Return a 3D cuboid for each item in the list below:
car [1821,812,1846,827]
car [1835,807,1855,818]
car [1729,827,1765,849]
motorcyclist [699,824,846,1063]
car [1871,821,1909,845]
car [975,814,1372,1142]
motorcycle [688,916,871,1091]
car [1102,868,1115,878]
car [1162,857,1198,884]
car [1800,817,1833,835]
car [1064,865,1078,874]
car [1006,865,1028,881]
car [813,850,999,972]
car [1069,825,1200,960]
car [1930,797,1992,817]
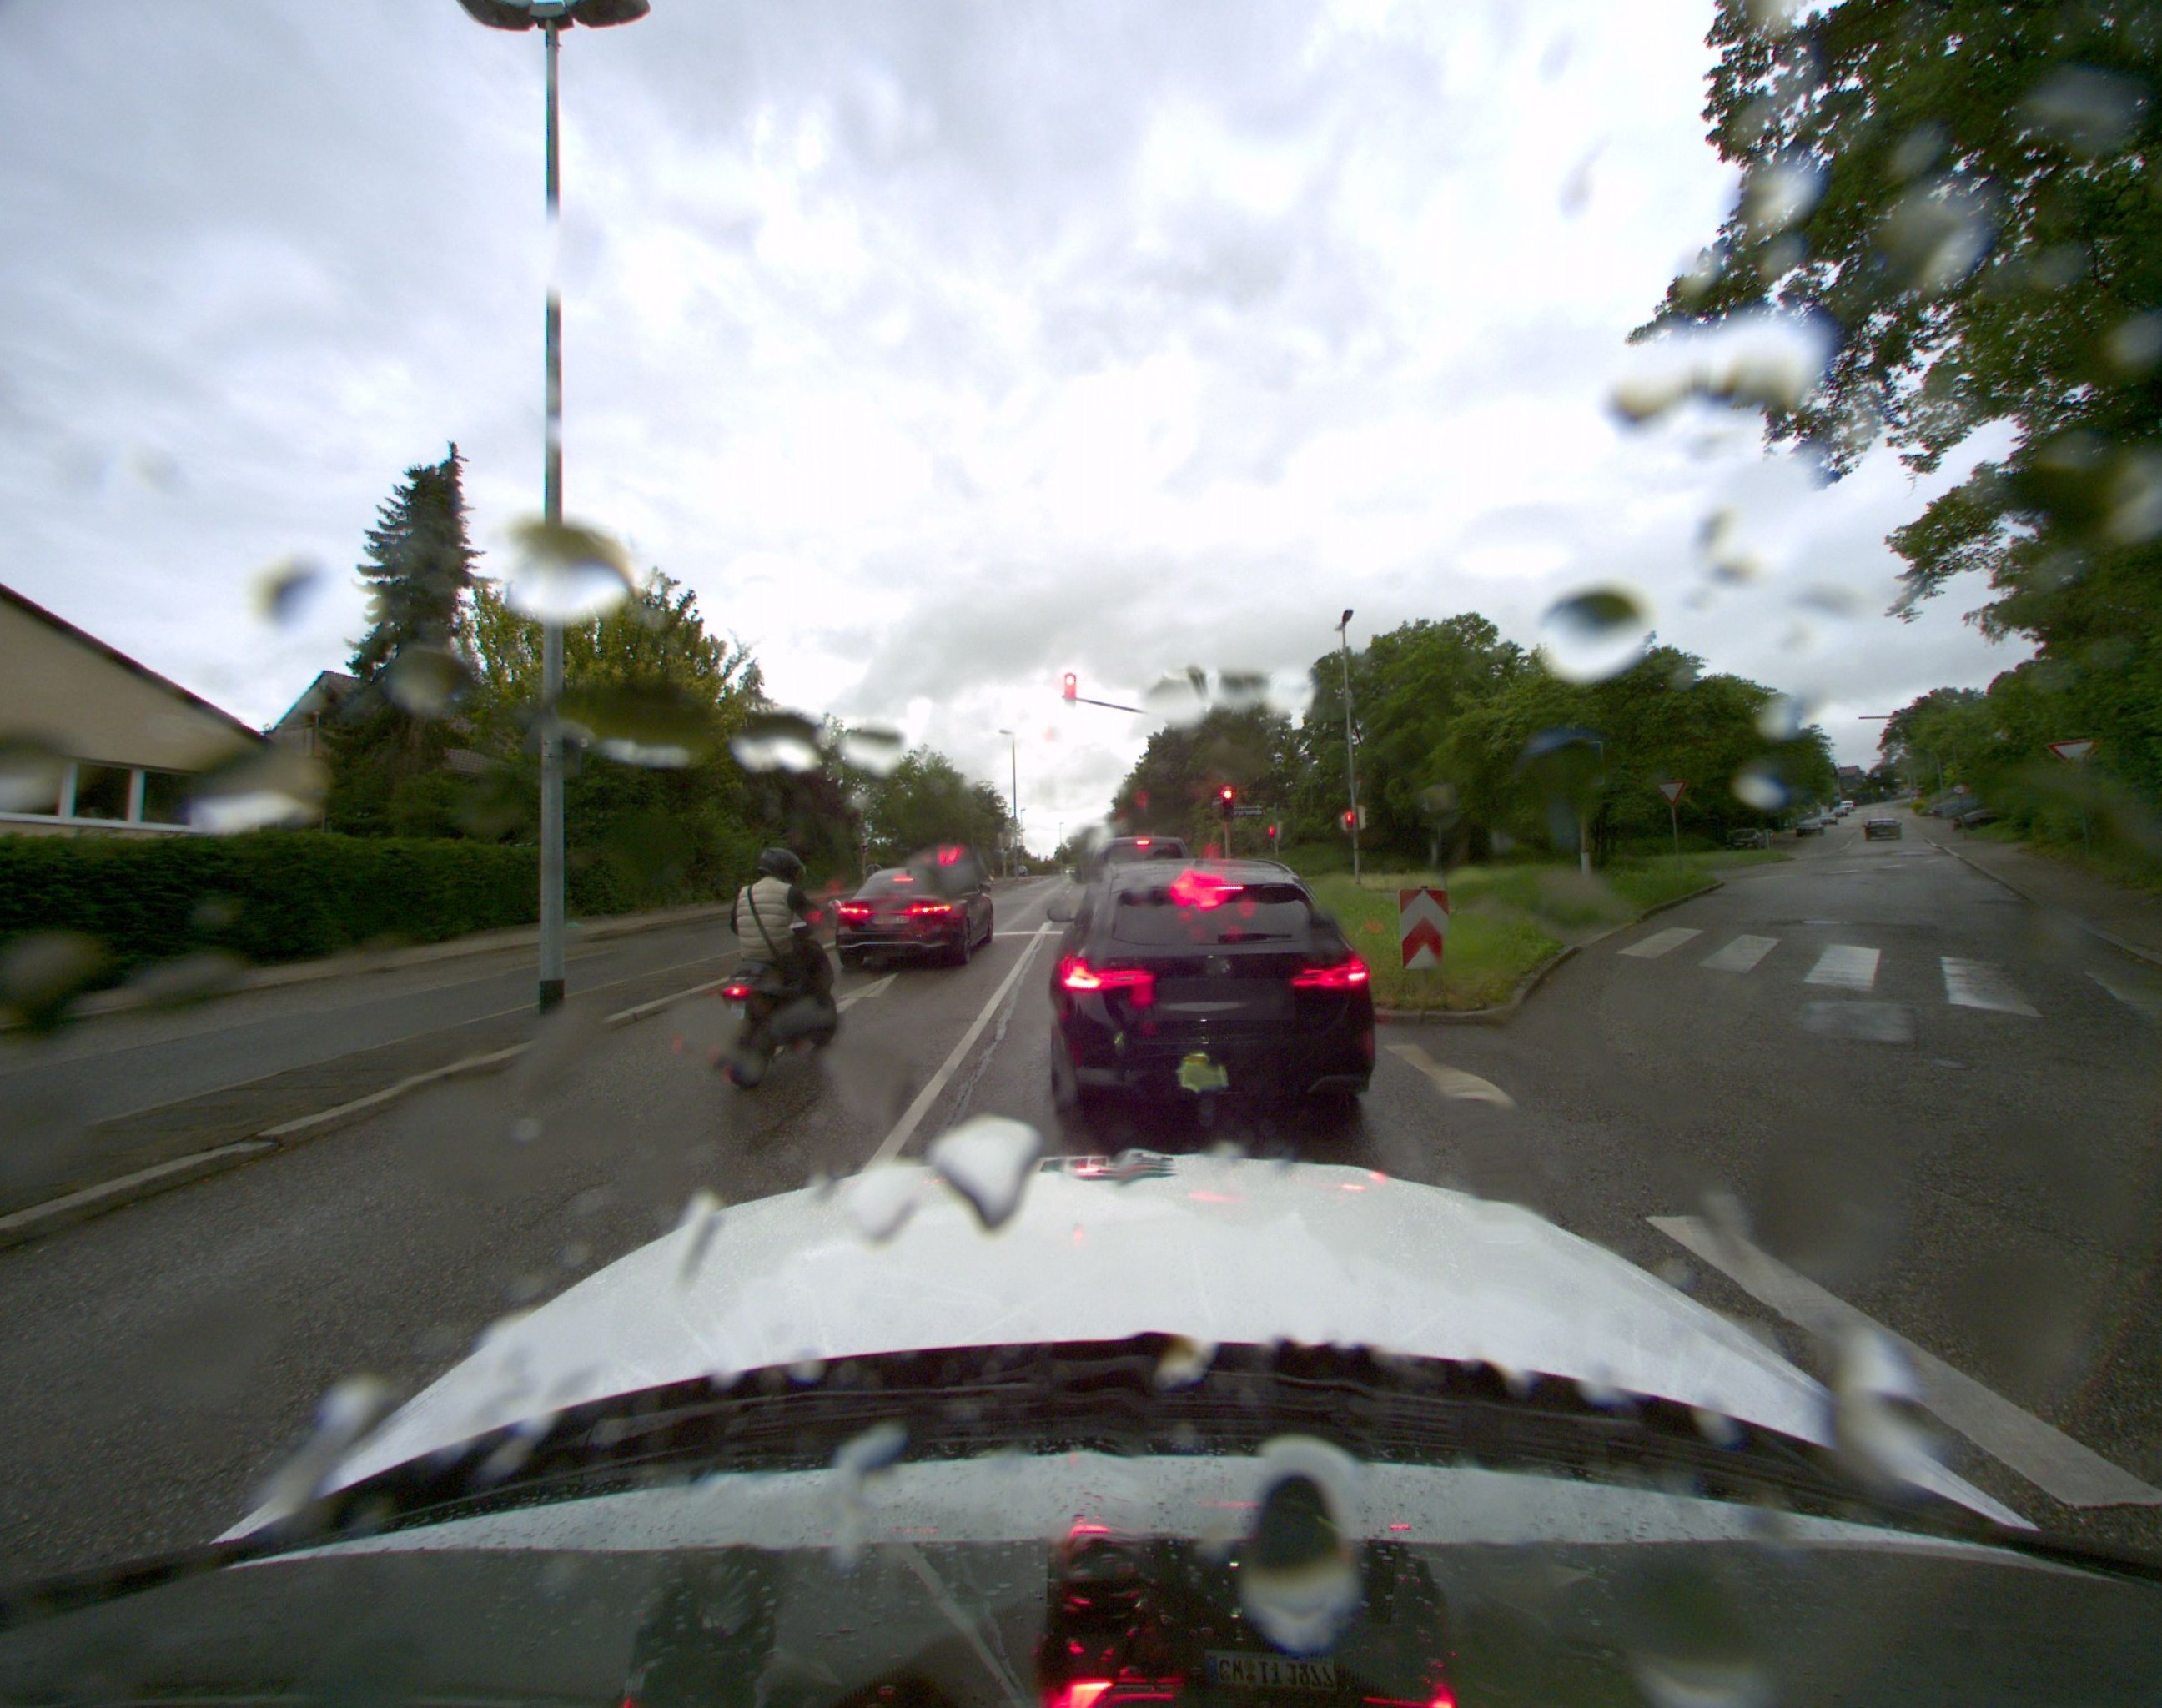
[{"bbox_3d":[88.215,-4.046,95.506,1.971,1.446,4.321,-2,-1,40],"label":"car"},{"bbox_3d":[114.510,-6.208,122.030,1.880,1.397,4.193,-2,-1,40],"label":"car"},{"bbox_3d":[46.028,-1.133,56.262,1.655,1.370,3.512,-3,0,43],"label":"car"},{"bbox_3d":[-2.270,0.633,6.071,0.762,1.642,0.674,-3,-1,1],"label":"motorcyclist"},{"bbox_3d":[56.200,-1.480,56.563,4.187,1.442,1.795,-4,1,-44],"label":"car"},{"bbox_3d":[0.646,0.646,6.244,1.889,1.551,4.621,-1,-1,5],"label":"car"},{"bbox_3d":[-2.240,1.061,6.316,0.688,1.053,1.747,-3,-2,2],"label":"motorcycle"},{"bbox_3d":[4.088,2.825,120.759,1.691,1.427,3.515,-4,-1,2],"label":"car"},{"bbox_3d":[6.337,1.024,52.404,1.866,1.543,3.954,-4,-1,2],"label":"car"},{"bbox_3d":[66.282,-2.520,73.378,4.318,1.450,1.881,0,-1,-44],"label":"car"},{"bbox_3d":[-1.967,3.028,159.555,1.982,1.611,3.680,-4,-1,9],"label":"car"},{"bbox_3d":[-7.994,2.405,102.726,1.984,1.826,4.006,-4,-1,6],"label":"car"},{"bbox_3d":[-2.588,0.803,13.191,1.987,1.527,4.326,-4,-1,0],"label":"car"},{"bbox_3d":[0.834,0.561,13.448,1.811,1.868,3.954,-1,-1,2],"label":"car"},{"bbox_3d":[87.622,-4.695,81.151,3.949,1.574,1.785,-5,-1,42],"label":"car"}]
